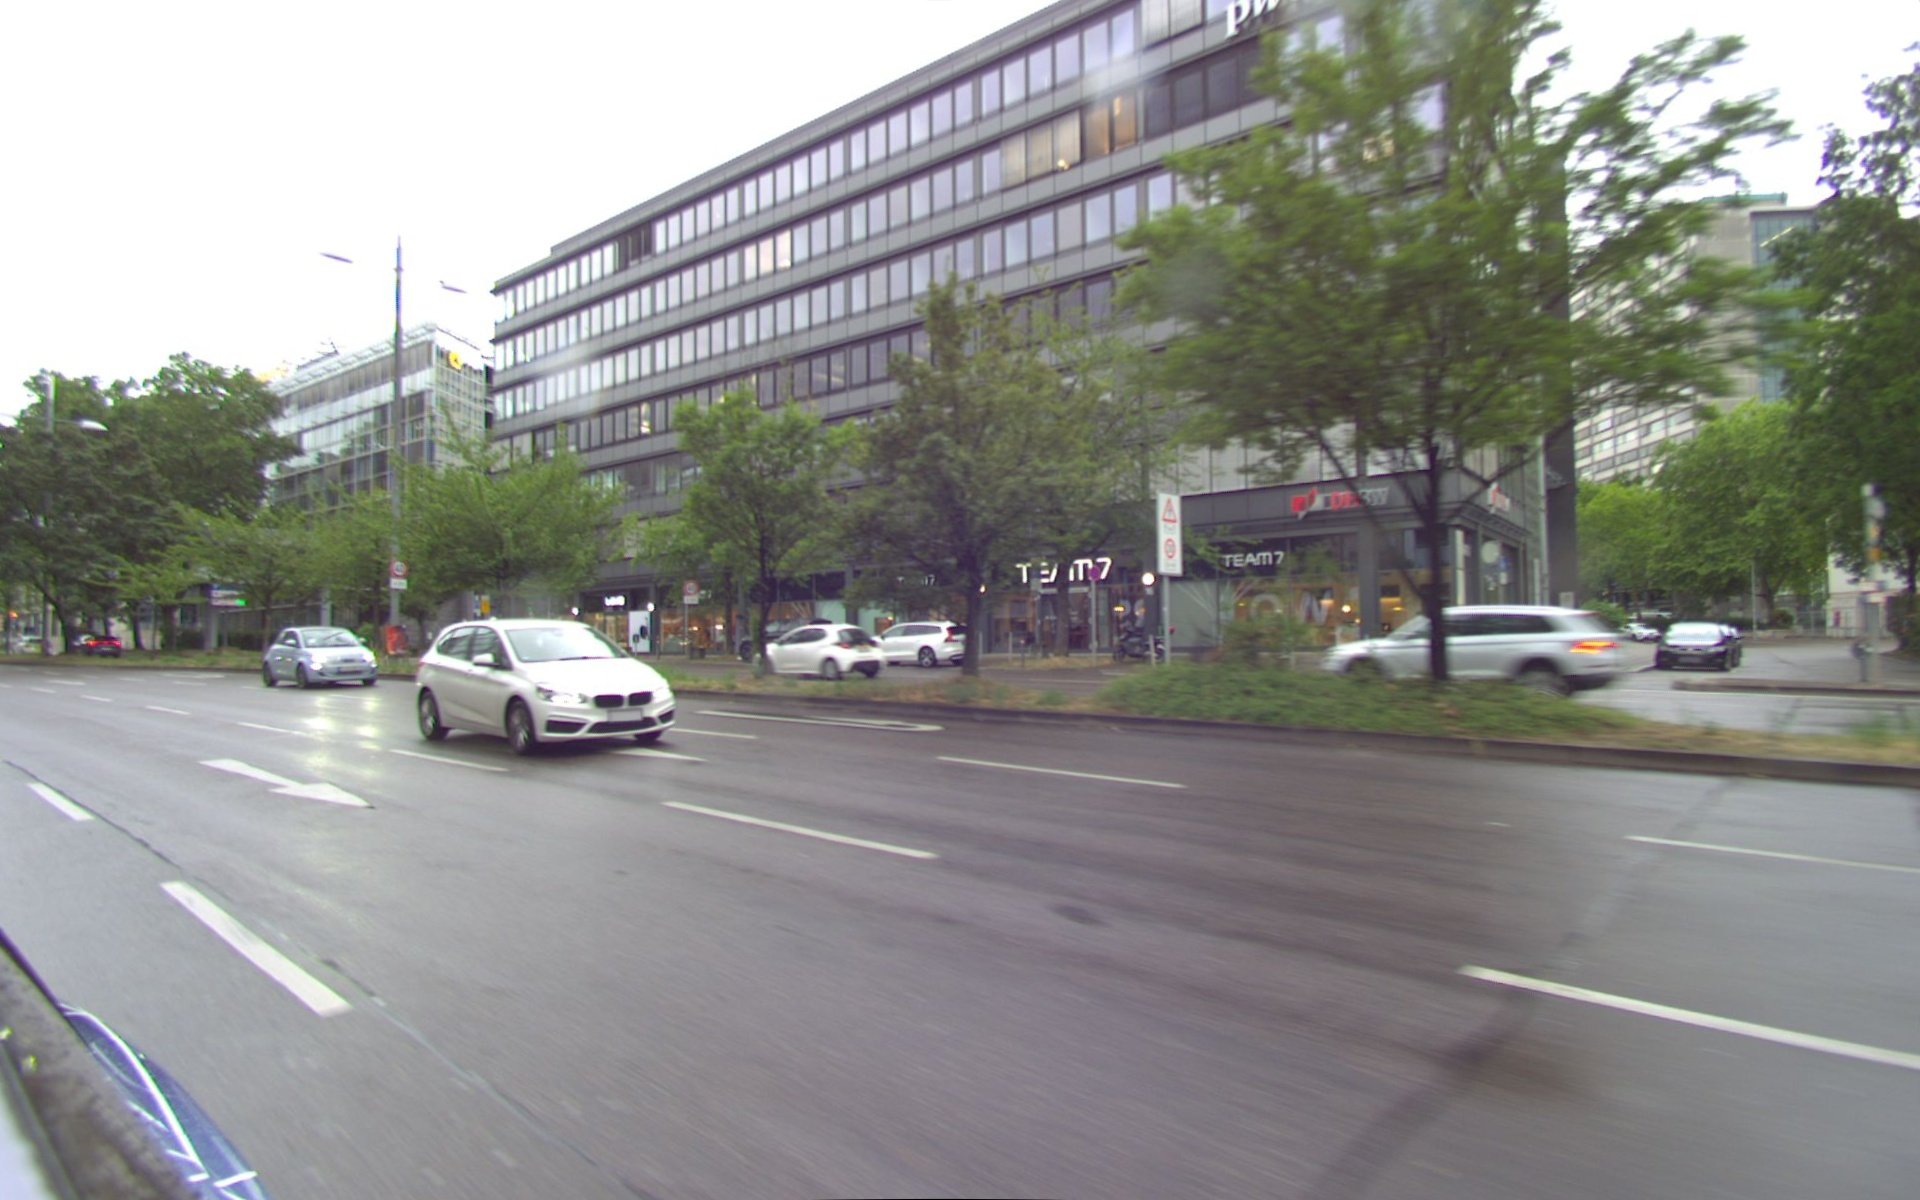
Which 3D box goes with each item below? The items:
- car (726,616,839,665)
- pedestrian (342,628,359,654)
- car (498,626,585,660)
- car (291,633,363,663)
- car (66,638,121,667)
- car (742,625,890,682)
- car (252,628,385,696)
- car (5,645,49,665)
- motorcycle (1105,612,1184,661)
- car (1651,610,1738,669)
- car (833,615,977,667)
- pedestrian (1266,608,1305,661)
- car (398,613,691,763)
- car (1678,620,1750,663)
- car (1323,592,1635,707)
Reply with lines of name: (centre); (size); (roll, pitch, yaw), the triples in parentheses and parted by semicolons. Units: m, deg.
car: (-6.655, 1.475, 37.646); (4.306, 1.673, 1.790); (-2, -1, 40)
pedestrian: (-43.026, 2.877, 71.470); (0.923, 1.846, 0.720); (-1, -1, 38)
car: (-19.760, 2.017, 47.690); (4.300, 1.455, 1.793); (-2, -1, 35)
car: (-33.366, 2.509, 53.323); (4.293, 1.487, 1.792); (-2, -2, 36)
car: (-58.126, 3.519, 67.881); (4.709, 1.527, 1.792); (3, 1, 36)
car: (-4.005, 1.443, 27.910); (4.076, 1.442, 1.667); (-2, -2, 37)
car: (-16.492, 1.547, 25.986); (3.686, 1.585, 1.766); (-2, -2, 38)
car: (-71.464, 4.170, 77.513); (4.304, 1.445, 1.712); (-2, -2, 36)
motorcycle: (5.628, 1.114, 30.888); (2.345, 1.404, 0.856); (-1, 1, 12)
car: (22.552, 1.153, 31.035); (1.997, 1.652, 3.949); (-1, -1, 38)
car: (-1.894, 1.348, 33.773); (4.767, 1.496, 1.791); (-2, 1, 39)
pedestrian: (10.362, 1.094, 32.199); (0.964, 1.650, 0.776); (-2, -2, 38)
car: (-5.371, 0.993, 12.812); (4.286, 1.585, 1.764); (-2, -2, 42)
car: (25.769, 1.383, 34.557); (1.845, 1.298, 3.948); (-1, -1, 38)
car: (8.868, 0.809, 17.548); (4.492, 1.741, 1.719); (-2, -1, 42)
